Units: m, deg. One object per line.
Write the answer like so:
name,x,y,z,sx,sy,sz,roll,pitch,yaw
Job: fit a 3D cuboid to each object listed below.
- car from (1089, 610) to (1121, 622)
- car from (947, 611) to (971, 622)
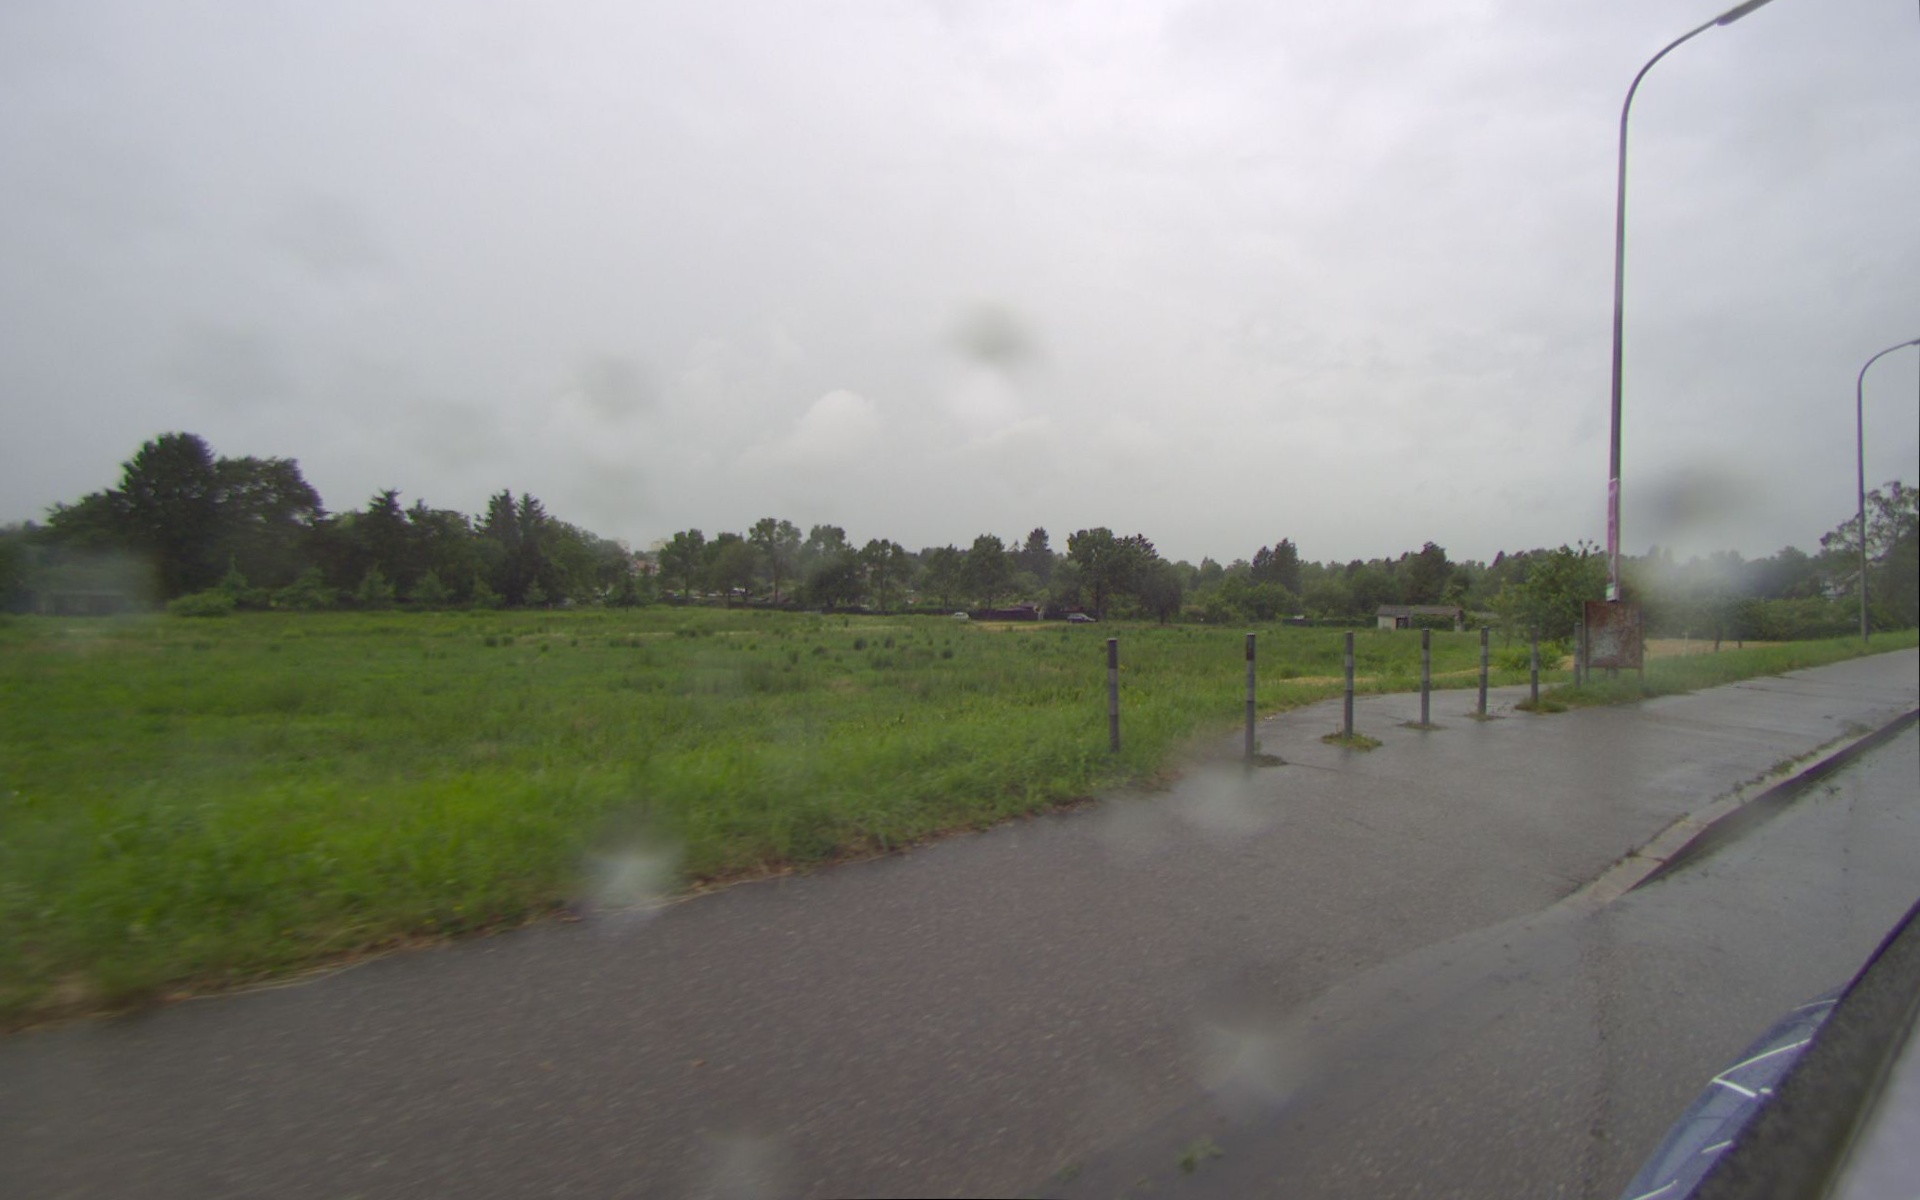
car,19.641,2.217,137.458,3.983,1.529,1.773,1,1,42
car,-0.123,2.430,146.350,1.784,1.529,4.121,-1,0,30
